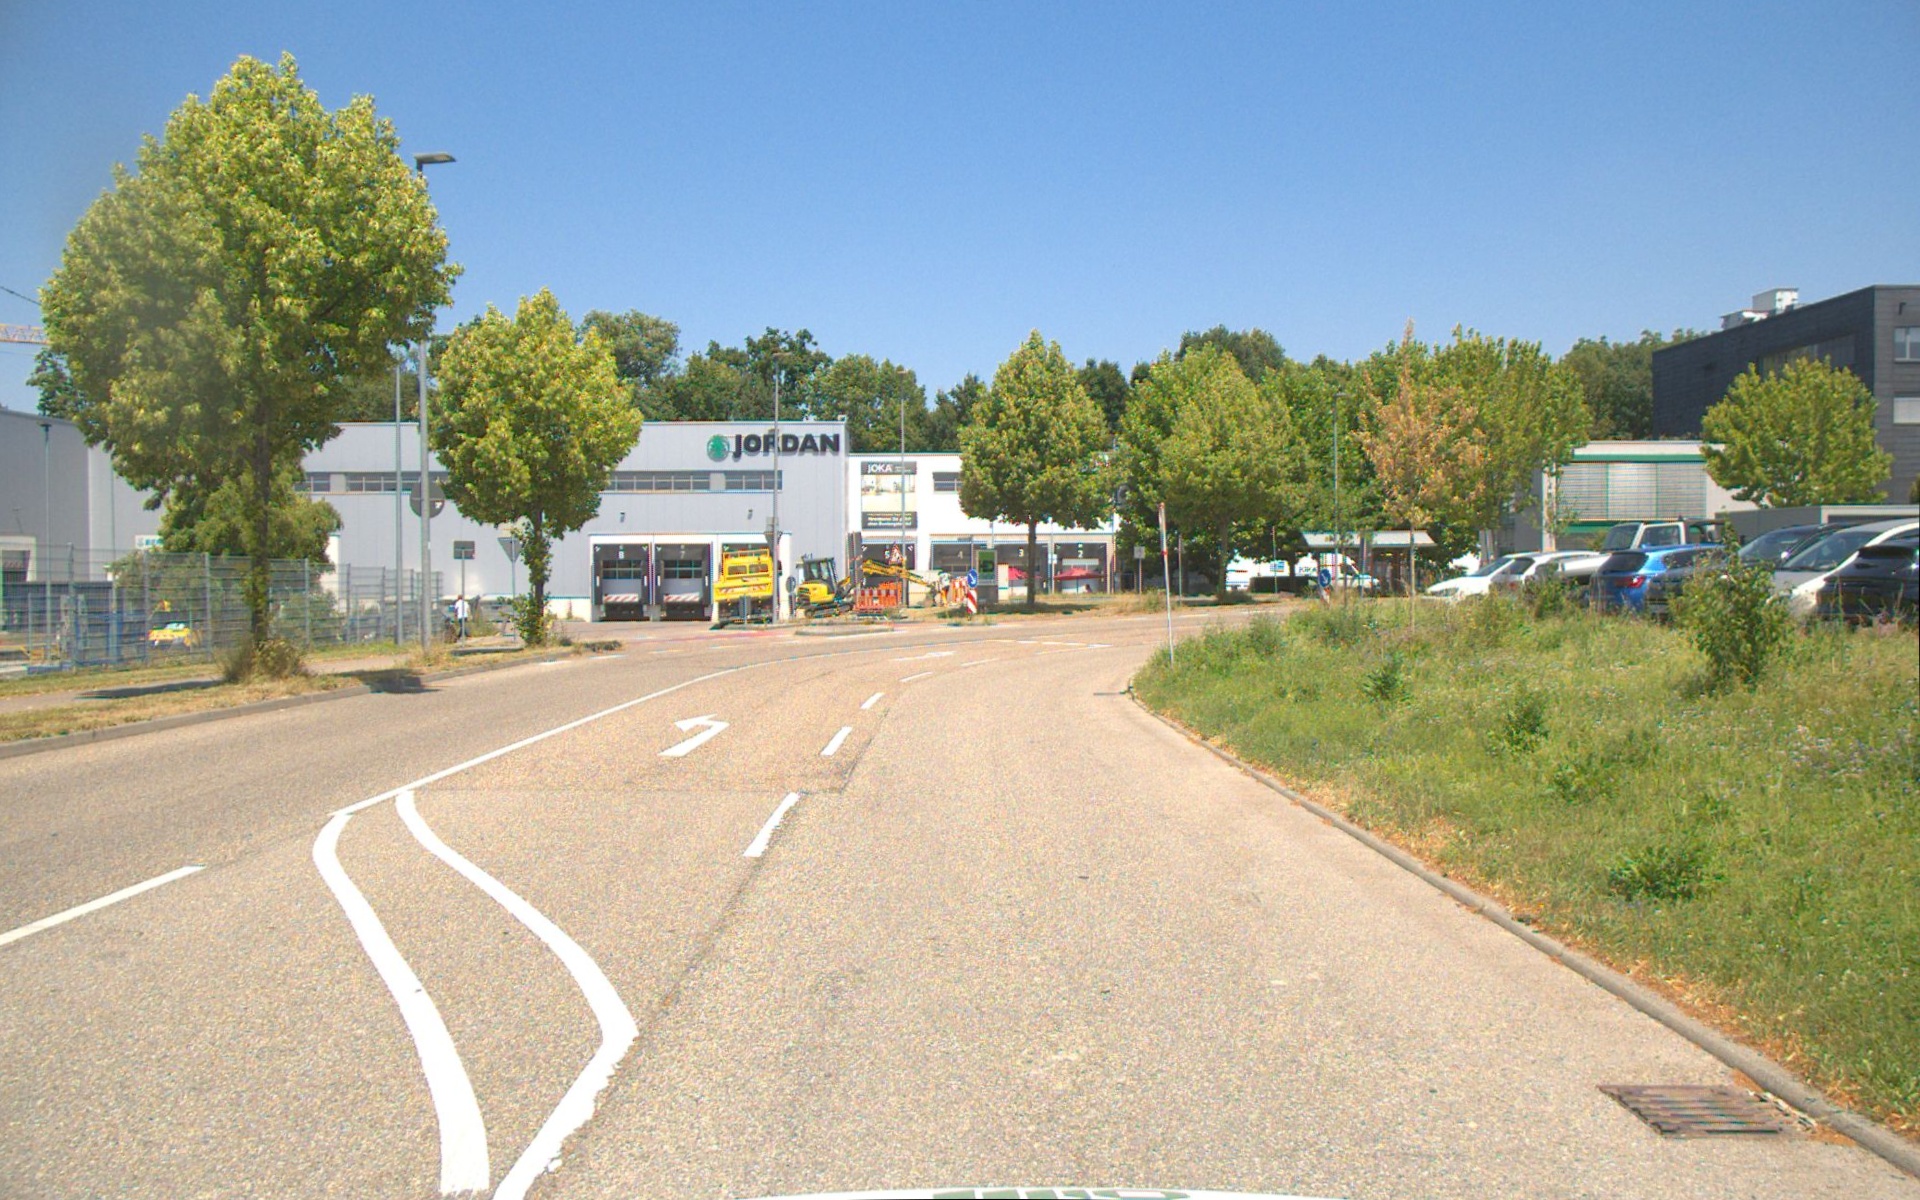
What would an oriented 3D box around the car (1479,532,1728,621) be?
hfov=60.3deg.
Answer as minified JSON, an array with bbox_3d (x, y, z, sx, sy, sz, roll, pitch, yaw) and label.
[{"bbox_3d":[12.232,-0.474,31.564,4.081,1.424,1.768,-2,4,-5],"label":"car"}]

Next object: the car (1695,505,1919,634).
[{"bbox_3d":[11.712,-0.443,20.931,4.081,1.424,1.768,-2,4,-5],"label":"car"}]

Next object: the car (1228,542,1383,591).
[{"bbox_3d":[16.482,-1.580,79.176,7.023,2.124,2.001,-2,0,2],"label":"car"}]

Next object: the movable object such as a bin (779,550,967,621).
[{"bbox_3d":[-3.593,-0.634,70.273,7.366,2.542,3.671,-2,4,7],"label":"movable object such as a bin"}]

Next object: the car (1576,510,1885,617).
[{"bbox_3d":[12.060,-0.608,26.018,4.081,1.424,1.768,-2,4,-5],"label":"car"}]

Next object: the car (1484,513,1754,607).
[{"bbox_3d":[11.591,-0.734,29.208,4.081,1.424,1.768,-2,4,-5],"label":"car"}]

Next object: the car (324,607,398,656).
[{"bbox_3d":[-24.487,1.254,67.733,1.956,1.578,3.995,-3,4,-8],"label":"car"}]

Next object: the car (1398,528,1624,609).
[{"bbox_3d":[11.384,-0.684,34.320,4.081,1.424,1.768,-2,4,-5],"label":"car"}]

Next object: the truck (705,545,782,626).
[{"bbox_3d":[-9.190,-0.691,69.765,2.885,2.935,5.799,-3,4,-9],"label":"truck"}]

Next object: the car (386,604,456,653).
[{"bbox_3d":[-22.126,1.148,68.037,1.956,1.578,3.995,-3,4,-8],"label":"car"}]

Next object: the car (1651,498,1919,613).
[{"bbox_3d":[12.306,-0.674,23.737,4.081,1.424,1.768,-2,4,-5],"label":"car"}]

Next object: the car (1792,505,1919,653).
[{"bbox_3d":[11.392,-0.319,17.774,4.081,1.424,1.768,-2,4,-5],"label":"car"}]

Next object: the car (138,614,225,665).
[{"bbox_3d":[-31.439,1.562,66.909,1.956,1.578,3.995,-3,4,-8],"label":"car"}]

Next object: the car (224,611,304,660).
[{"bbox_3d":[-28.287,1.416,67.366,1.956,1.578,3.995,-3,4,-8],"label":"car"}]
